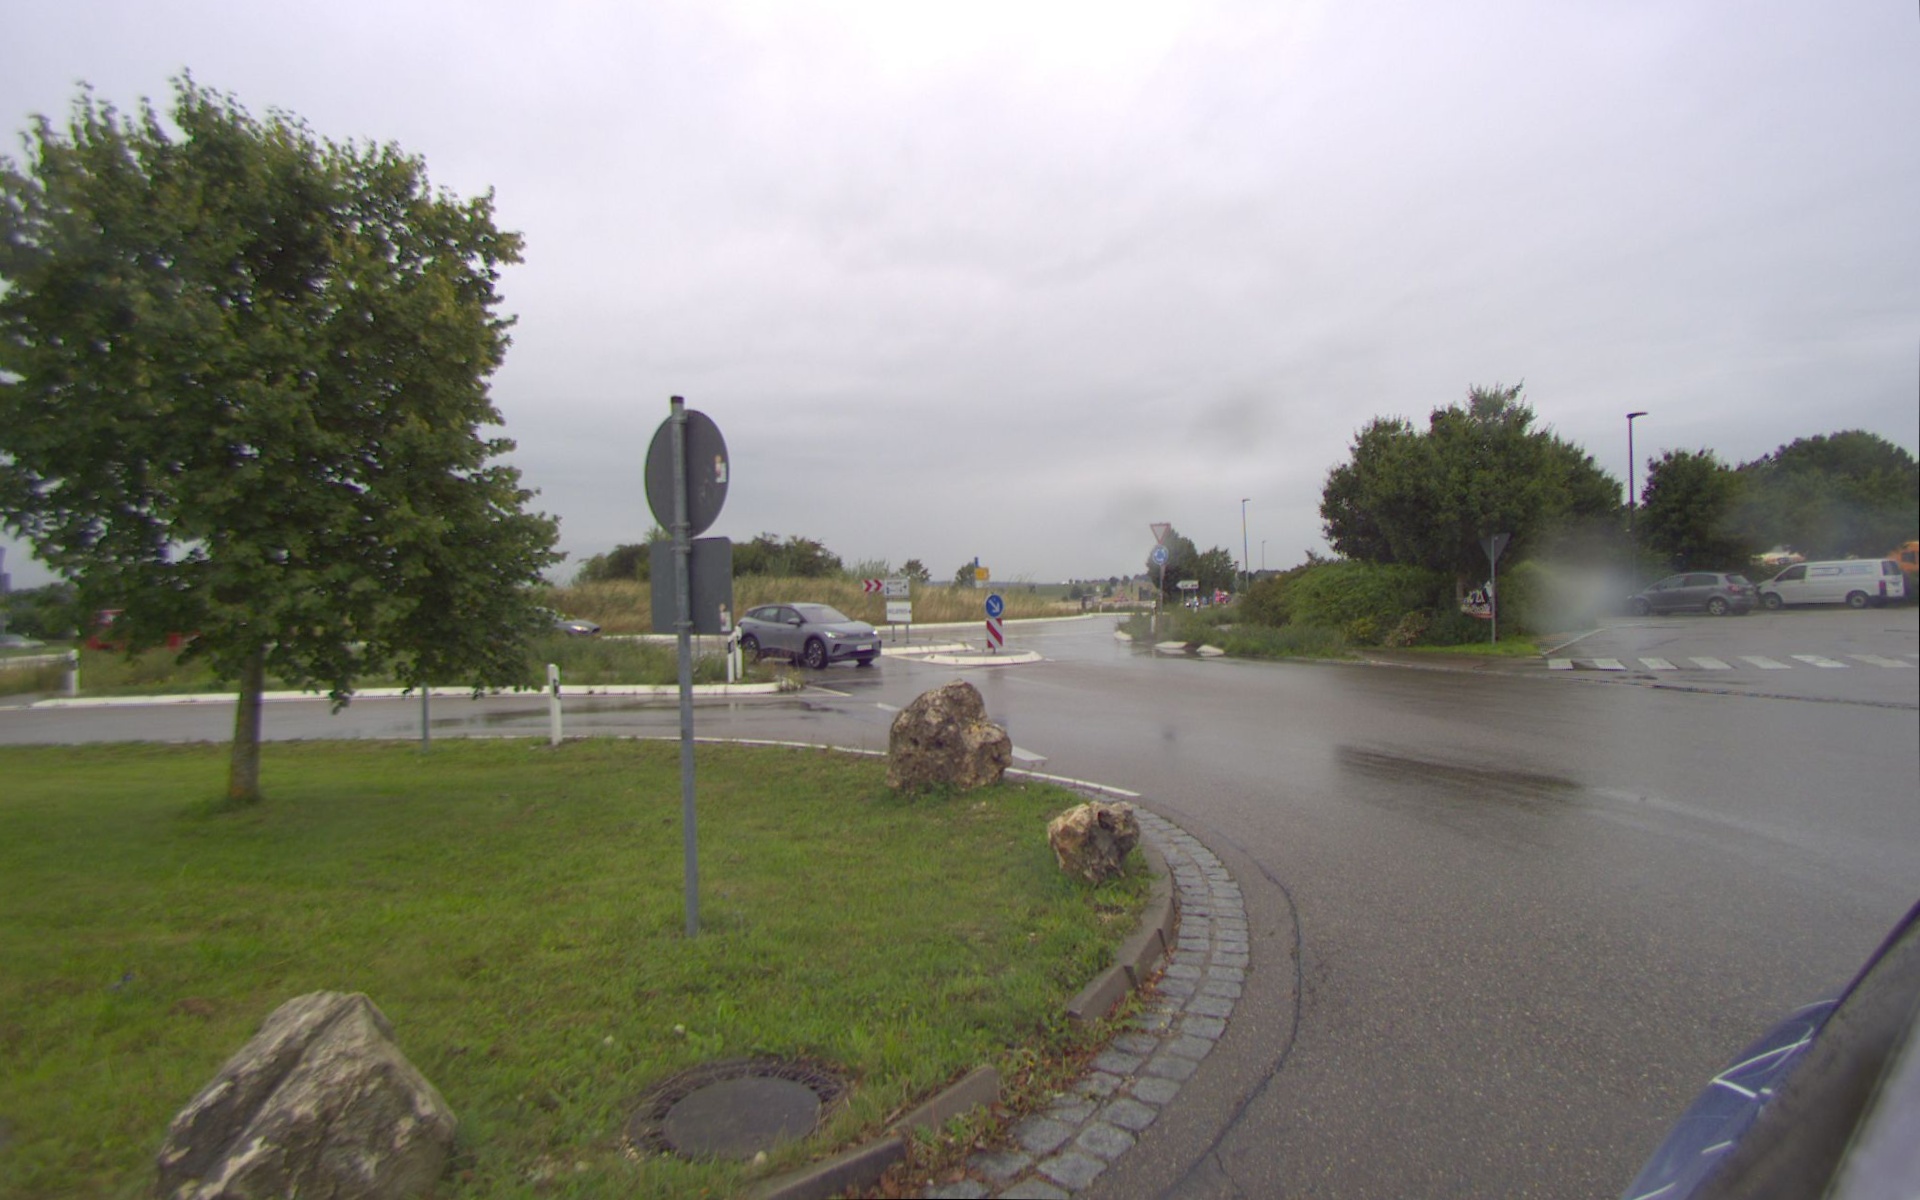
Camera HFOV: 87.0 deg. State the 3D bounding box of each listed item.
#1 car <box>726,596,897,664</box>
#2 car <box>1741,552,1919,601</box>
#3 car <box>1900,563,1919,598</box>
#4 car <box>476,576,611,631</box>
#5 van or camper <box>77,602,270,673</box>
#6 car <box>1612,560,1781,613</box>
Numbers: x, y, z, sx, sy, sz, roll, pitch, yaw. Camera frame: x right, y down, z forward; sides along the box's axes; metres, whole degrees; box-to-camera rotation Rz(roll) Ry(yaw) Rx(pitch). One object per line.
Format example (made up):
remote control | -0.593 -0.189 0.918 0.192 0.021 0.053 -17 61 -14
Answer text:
car | -3.989 0.747 26.714 4.478 1.594 1.972 -1 2 40
car | 35.842 -0.935 41.713 1.959 1.744 5.384 -1 -1 -27
car | 43.142 -0.910 43.512 1.971 1.570 4.626 -2 -1 15
car | -14.395 0.083 35.179 3.920 1.609 1.830 -2 4 -5
van or camper | -26.278 1.186 34.061 4.748 2.038 2.004 -2 2 -26
car | 27.169 -0.451 37.529 1.959 1.744 4.615 -1 -1 -27
